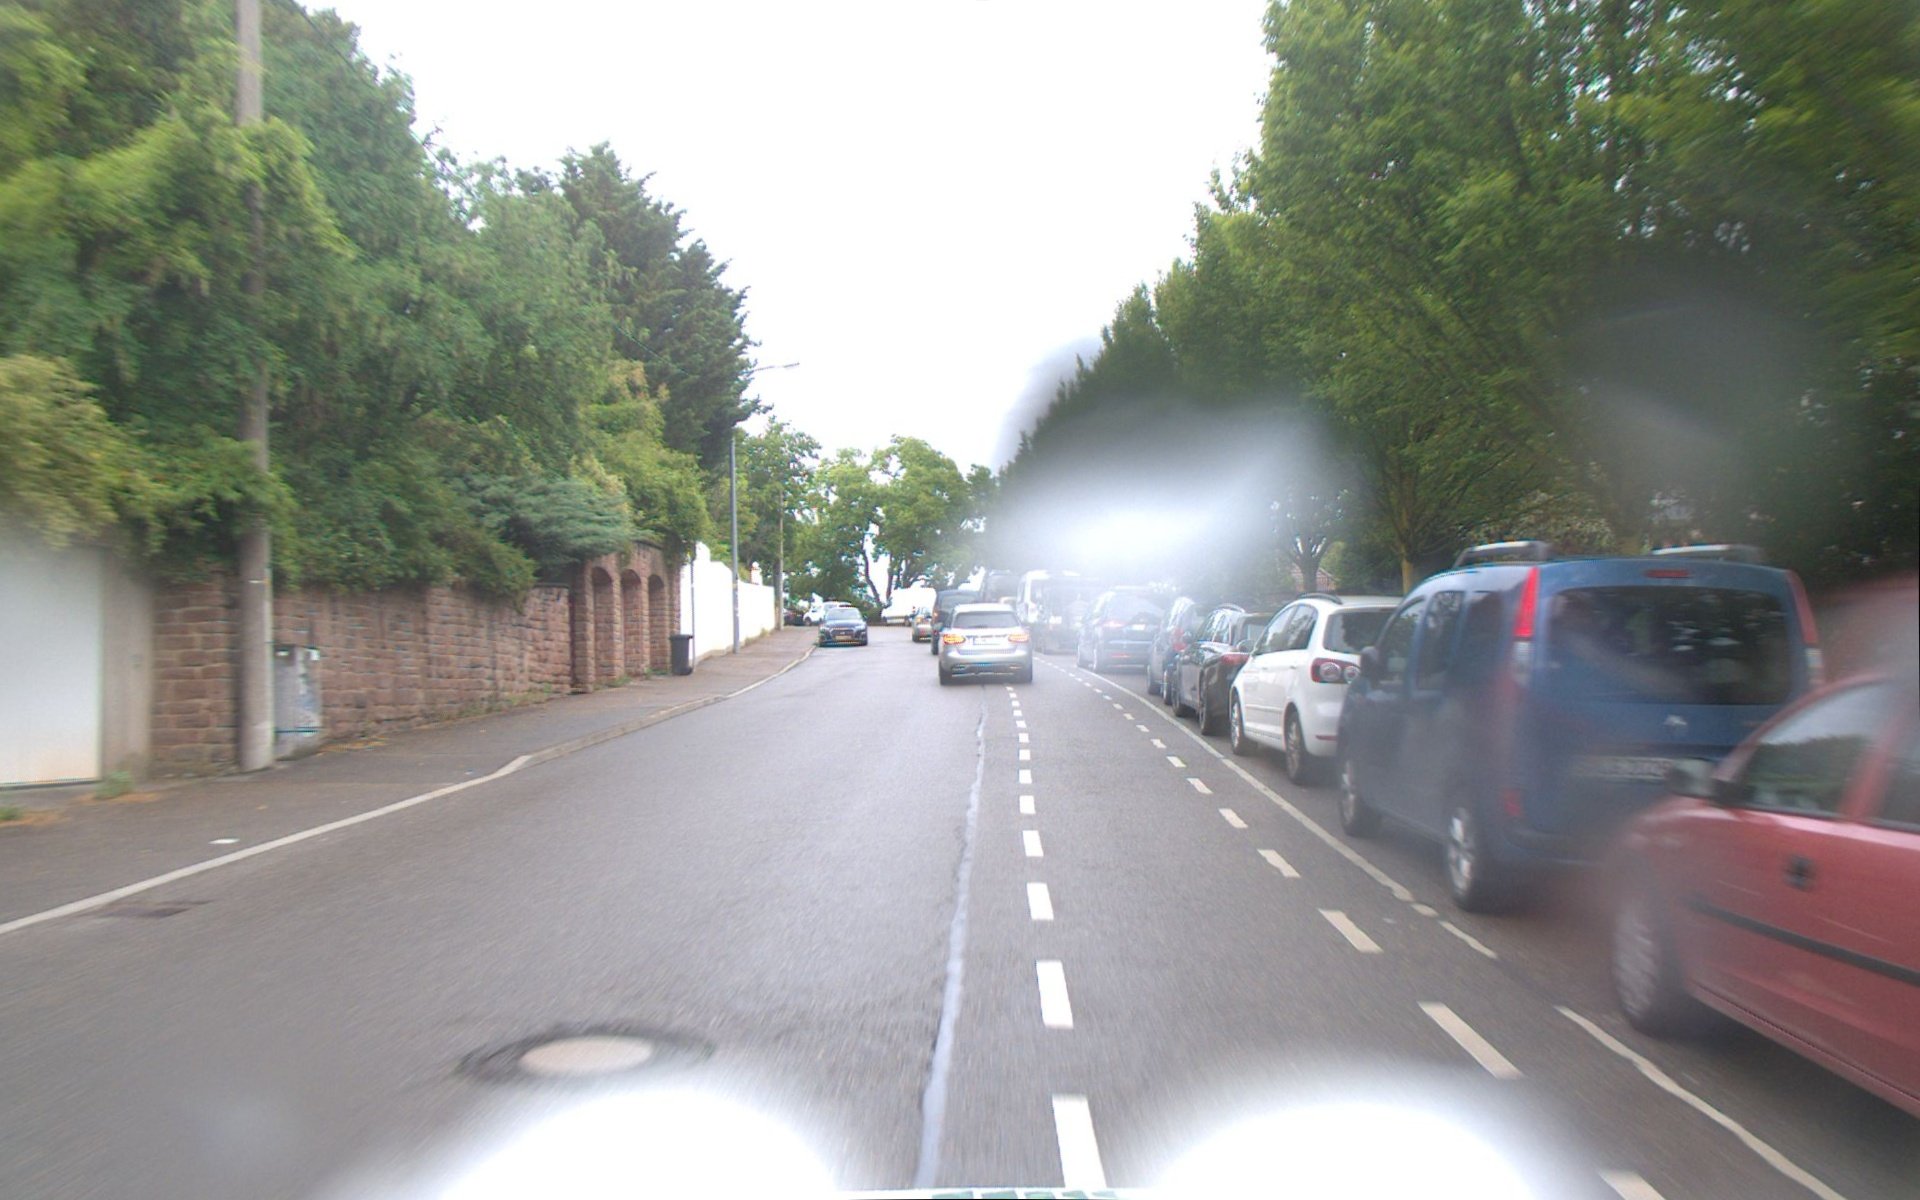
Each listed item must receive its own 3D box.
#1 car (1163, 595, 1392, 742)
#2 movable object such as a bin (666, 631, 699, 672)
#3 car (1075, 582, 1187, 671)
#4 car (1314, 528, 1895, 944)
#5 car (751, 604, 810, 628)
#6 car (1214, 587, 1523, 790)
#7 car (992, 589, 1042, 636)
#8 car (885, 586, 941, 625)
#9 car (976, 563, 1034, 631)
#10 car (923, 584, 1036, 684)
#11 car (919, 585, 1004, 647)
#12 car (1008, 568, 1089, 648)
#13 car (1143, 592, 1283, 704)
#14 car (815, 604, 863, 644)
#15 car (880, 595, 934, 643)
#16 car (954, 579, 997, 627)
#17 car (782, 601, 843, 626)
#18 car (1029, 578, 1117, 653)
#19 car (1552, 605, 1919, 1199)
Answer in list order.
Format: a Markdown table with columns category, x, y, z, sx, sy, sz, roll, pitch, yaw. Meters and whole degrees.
| category | x | y | z | sx | sy | sz | roll | pitch | yaw |
| --- | --- | --- | --- | --- | --- | --- | --- | --- | --- |
| car | 3.766 | 0.757 | 20.481 | 1.952 | 1.564 | 4.850 | 1 | 0 | 1 |
| movable object such as a bin | -6.442 | 1.201 | 38.451 | 0.645 | 0.935 | 0.677 | 0 | -1 | 0 |
| car | 3.664 | 0.553 | 36.205 | 1.745 | 1.814 | 4.676 | 0 | 0 | -3 |
| car | 3.459 | 0.629 | 9.868 | 1.741 | 1.884 | 4.425 | 1 | 0 | 0 |
| car | -13.935 | 1.219 | 128.009 | 4.587 | 1.727 | 1.959 | 2 | 0 | 42 |
| car | 3.651 | 0.723 | 15.556 | 1.747 | 1.637 | 4.222 | 1 | 0 | -2 |
| car | 2.373 | 0.522 | 69.868 | 1.693 | 1.816 | 4.273 | 4 | 0 | -3 |
| car | -3.267 | 0.398 | 114.841 | 2.101 | 2.571 | 4.456 | 2 | 0 | -27 |
| car | 2.023 | -0.145 | 76.186 | 2.082 | 2.937 | 5.764 | 2 | 0 | -4 |
| car | 0.345 | 0.618 | 32.041 | 1.984 | 1.738 | 4.215 | -2 | 0 | 0 |
| car | 0.005 | 0.493 | 49.640 | 1.956 | 1.738 | 3.992 | 1 | -1 | -8 |
| car | 2.991 | 0.274 | 57.046 | 2.130 | 2.536 | 6.030 | 2 | 0 | -2 |
| car | 3.870 | 0.696 | 25.868 | 1.658 | 1.598 | 3.923 | 1 | 0 | 1 |
| car | -4.552 | 0.877 | 62.554 | 1.714 | 1.381 | 4.421 | -2 | 0 | -4 |
| car | -2.022 | 0.756 | 63.912 | 1.953 | 1.738 | 3.998 | 1 | -1 | -1 |
| car | 0.828 | 0.149 | 91.919 | 2.023 | 2.538 | 4.757 | 2 | 0 | -3 |
| car | -11.191 | 1.040 | 125.474 | 4.410 | 1.727 | 1.962 | 2 | 0 | 38 |
| car | 3.284 | 0.451 | 49.082 | 1.954 | 2.088 | 5.118 | 1 | -1 | -3 |
| car | 3.243 | 0.791 | 4.937 | 1.614 | 1.507 | 4.020 | 1 | 0 | 2 |
